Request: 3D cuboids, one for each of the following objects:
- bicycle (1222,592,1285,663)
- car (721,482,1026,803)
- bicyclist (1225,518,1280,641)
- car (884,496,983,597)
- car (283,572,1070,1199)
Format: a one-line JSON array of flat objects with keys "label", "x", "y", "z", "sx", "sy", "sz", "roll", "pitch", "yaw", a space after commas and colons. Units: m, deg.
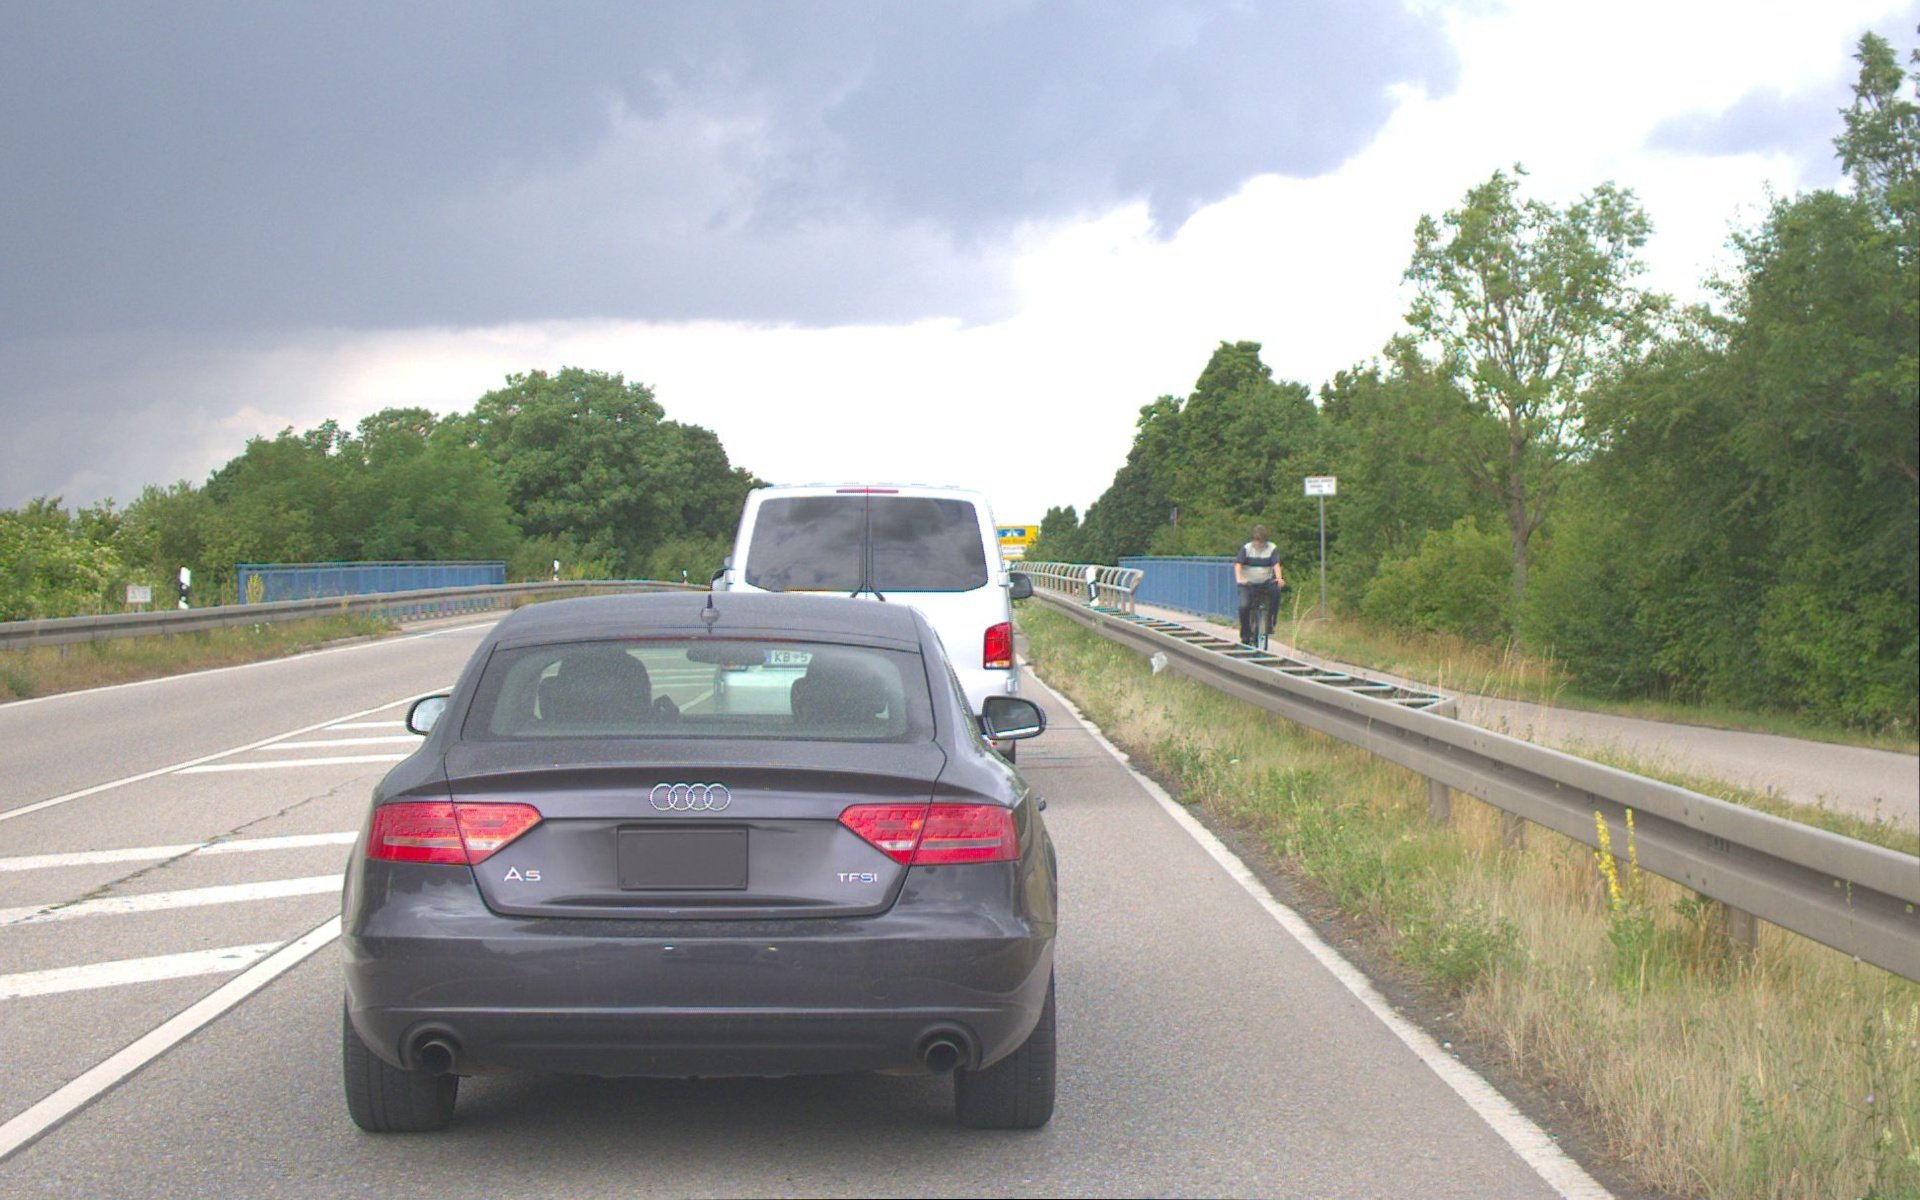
[{"label": "bicycle", "x": 3.946, "y": 0.362, "z": 46.319, "sx": 0.666, "sy": 0.917, "sz": 1.830, "roll": 0, "pitch": 0, "yaw": -1}, {"label": "car", "x": -0.543, "y": 0.245, "z": 22.391, "sx": 1.785, "sy": 1.883, "sz": 4.000, "roll": 1, "pitch": 0, "yaw": -1}, {"label": "bicyclist", "x": 3.938, "y": -0.273, "z": 46.293, "sx": 0.647, "sy": 1.639, "sz": 0.866, "roll": 0, "pitch": 0, "yaw": -1}, {"label": "car", "x": -0.675, "y": -1.379, "z": 88.446, "sx": 2.447, "sy": 2.495, "sz": 5.041, "roll": 1, "pitch": 1, "yaw": 0}, {"label": "car", "x": -0.680, "y": 0.650, "z": 9.895, "sx": 1.785, "sy": 1.419, "sz": 4.000, "roll": 1, "pitch": 0, "yaw": -1}]
